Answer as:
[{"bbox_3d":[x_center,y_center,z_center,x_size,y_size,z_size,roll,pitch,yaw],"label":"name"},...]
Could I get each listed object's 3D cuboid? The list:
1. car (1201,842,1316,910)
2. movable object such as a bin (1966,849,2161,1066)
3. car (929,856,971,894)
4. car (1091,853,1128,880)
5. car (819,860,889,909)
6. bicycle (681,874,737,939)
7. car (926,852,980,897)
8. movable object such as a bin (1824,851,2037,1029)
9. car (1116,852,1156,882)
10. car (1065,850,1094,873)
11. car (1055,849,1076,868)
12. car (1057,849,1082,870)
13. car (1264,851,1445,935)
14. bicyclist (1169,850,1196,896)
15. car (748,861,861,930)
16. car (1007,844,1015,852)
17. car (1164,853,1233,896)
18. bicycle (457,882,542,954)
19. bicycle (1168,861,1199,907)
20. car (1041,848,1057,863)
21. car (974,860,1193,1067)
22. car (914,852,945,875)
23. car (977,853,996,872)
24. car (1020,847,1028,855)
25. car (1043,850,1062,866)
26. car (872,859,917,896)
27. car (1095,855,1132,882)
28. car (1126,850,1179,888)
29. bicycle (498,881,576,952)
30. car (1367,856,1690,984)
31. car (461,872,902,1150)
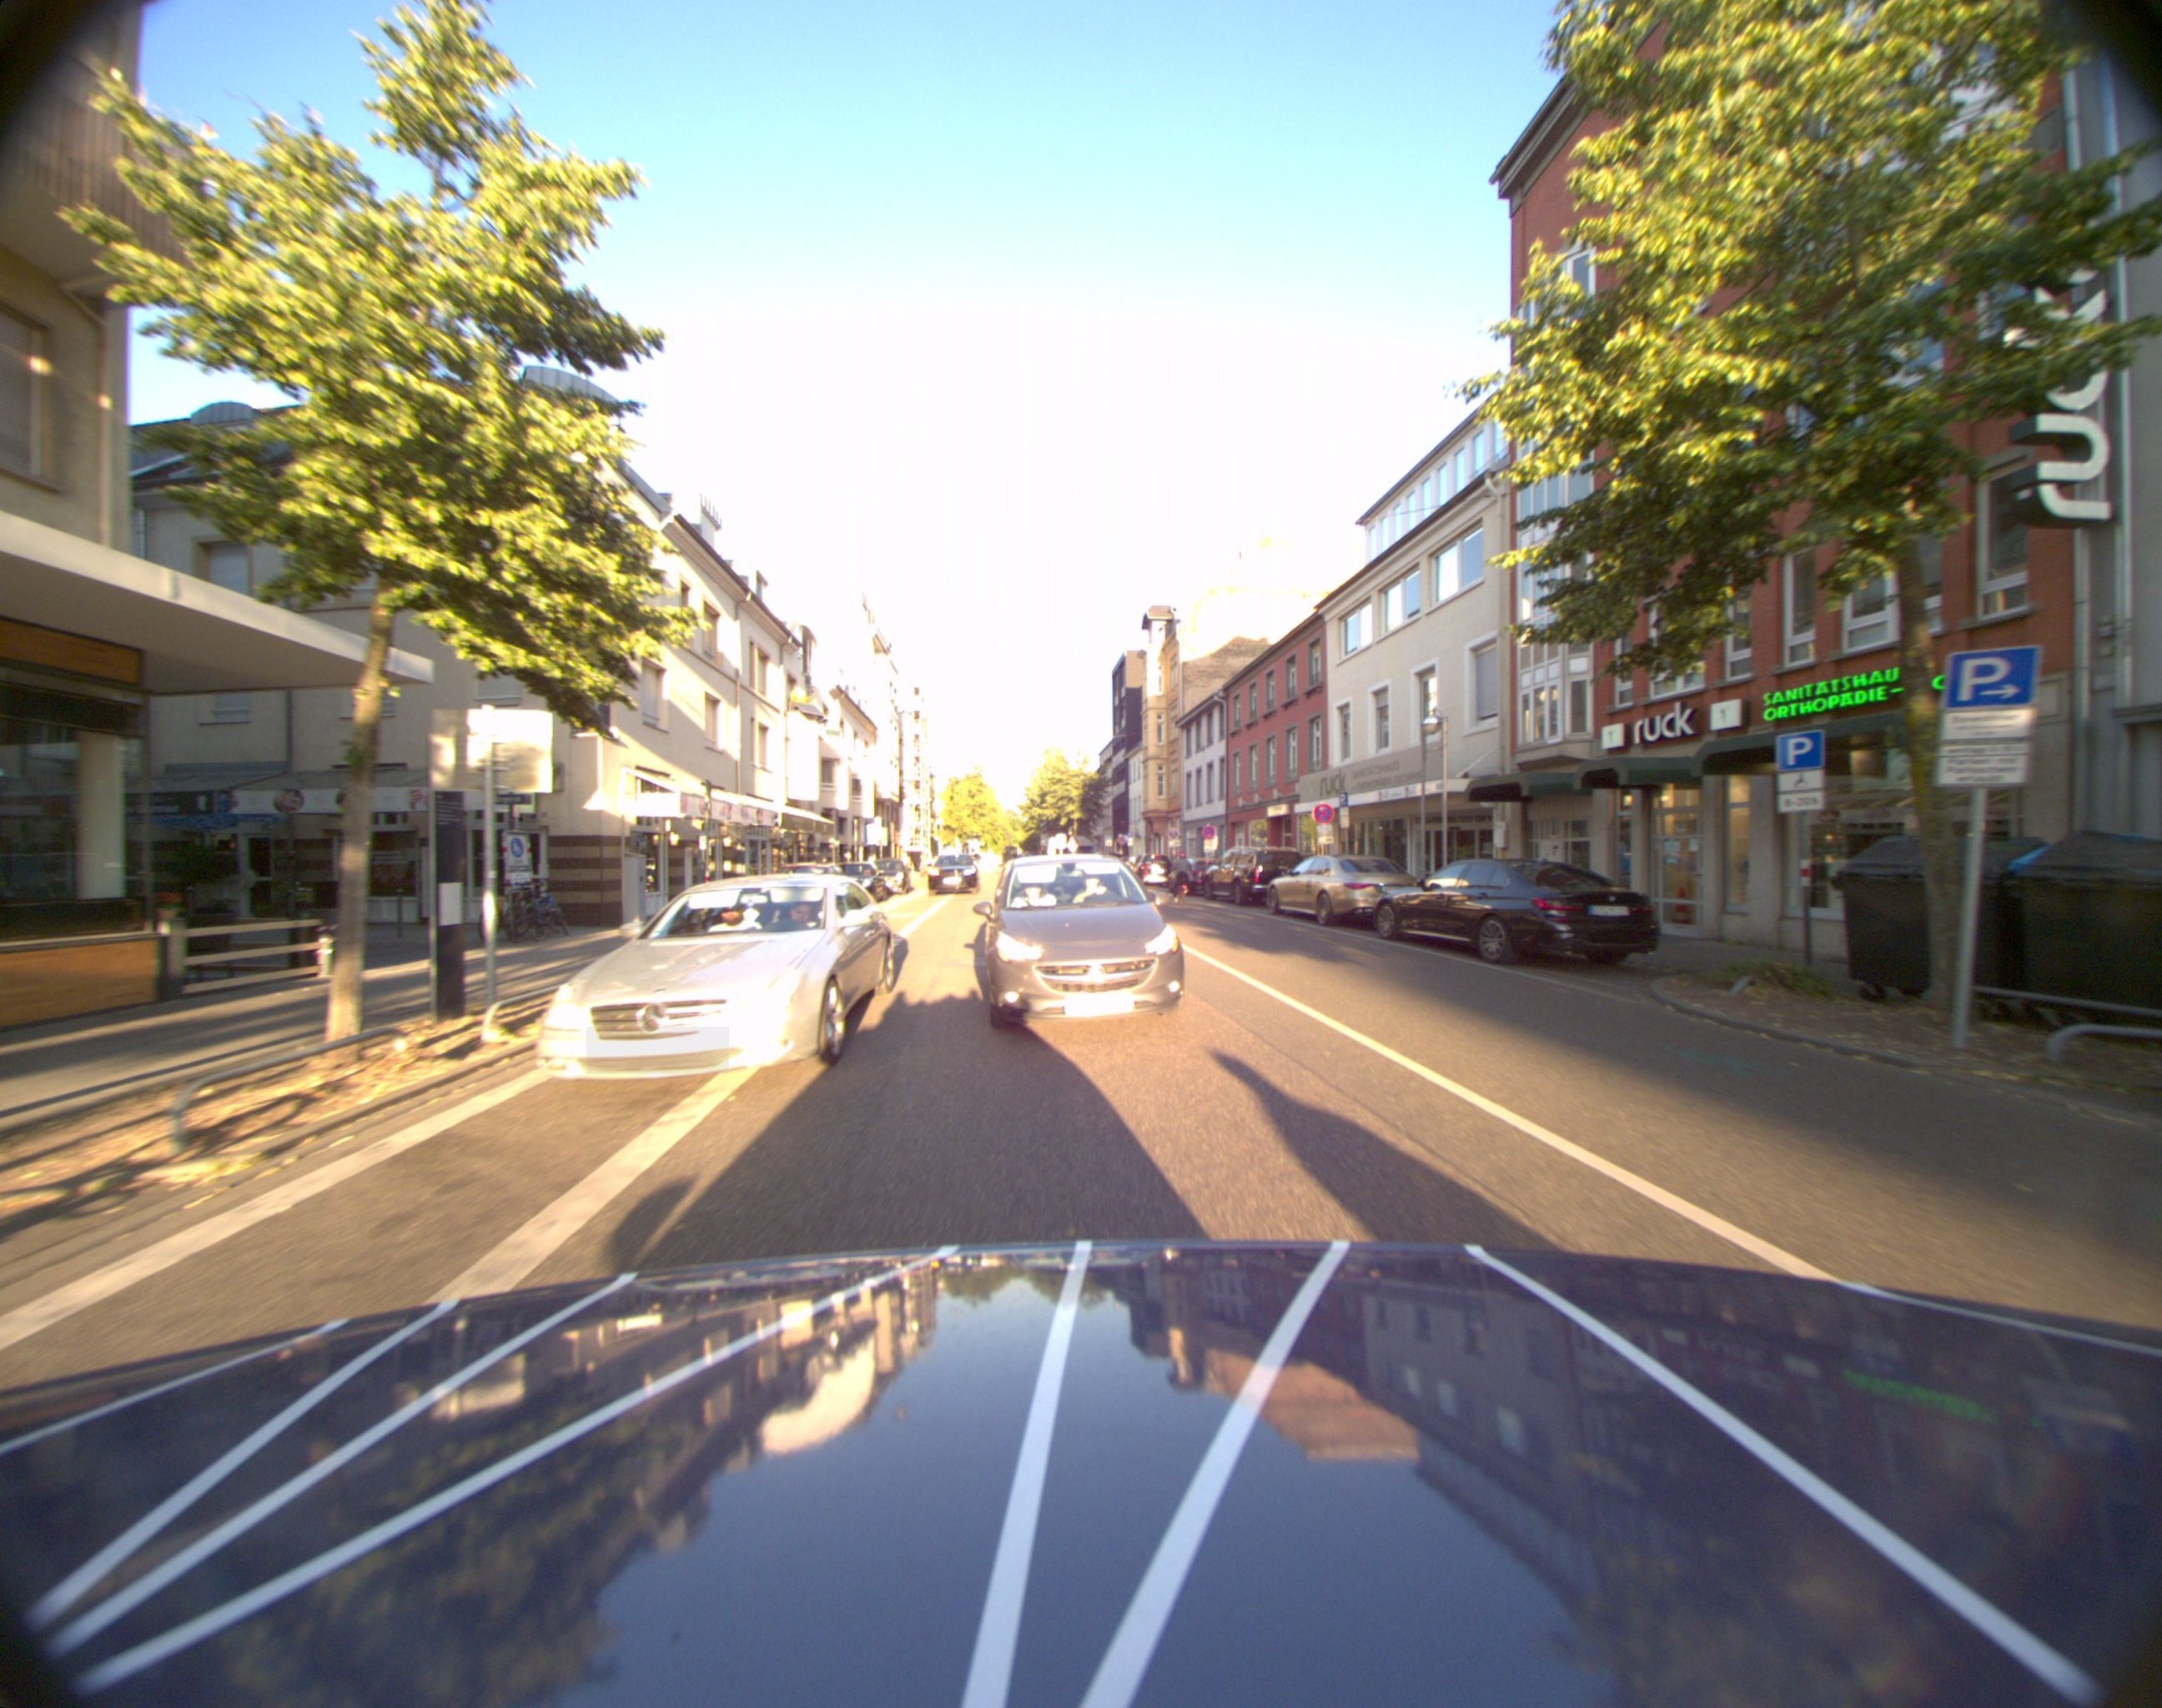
[{"bbox_3d":[5.364,0.615,23.753,1.974,1.873,4.945,-1,0,-6],"label":"car"},{"bbox_3d":[8.168,0.750,5.927,0.753,1.535,1.483,-3,2,-6],"label":"movable object such as a bin"},{"bbox_3d":[-6.044,0.914,35.393,1.692,1.534,3.728,-3,1,-8],"label":"car"},{"bbox_3d":[1.897,0.809,51.711,1.882,1.667,4.034,-2,1,-6],"label":"car"},{"bbox_3d":[-7.511,0.966,25.463,1.615,1.386,3.692,-3,1,-7],"label":"car"},{"bbox_3d":[-7.807,1.070,16.019,0.505,1.231,1.711,0,1,-7],"label":"bicycle"},{"bbox_3d":[-5.128,0.768,30.799,1.897,1.633,3.747,-1,1,-6],"label":"car"},{"bbox_3d":[8.020,0.756,7.238,0.748,1.526,1.100,-3,1,-6],"label":"movable object such as a bin"},{"bbox_3d":[3.103,0.689,43.524,1.686,1.581,3.514,-1,1,-5],"label":"car"},{"bbox_3d":[-0.139,0.554,58.345,1.796,1.606,3.970,-2,1,-6],"label":"car"},{"bbox_3d":[-1.557,0.425,75.821,1.766,1.762,3.870,0,0,-6],"label":"car"},{"bbox_3d":[-1.025,0.485,66.052,1.766,1.762,3.870,0,0,-6],"label":"car"},{"bbox_3d":[5.801,0.733,16.909,1.896,1.590,4.942,0,0,-5],"label":"car"},{"bbox_3d":[2.954,0.549,22.101,0.569,1.295,0.660,-3,2,-7],"label":"bicyclist"},{"bbox_3d":[-6.757,0.943,18.990,1.654,1.420,3.998,-2,0,-6],"label":"car"},{"bbox_3d":[-15.215,-1.229,164.321,1.673,1.630,3.253,-2,1,-5],"label":"car"},{"bbox_3d":[4.531,0.749,29.813,1.737,1.516,3.840,-1,0,-6],"label":"car"},{"bbox_3d":[-10.710,1.132,14.073,0.332,1.123,2.010,-1,1,-10],"label":"bicycle"},{"bbox_3d":[2.961,0.855,22.112,0.421,1.230,1.693,-3,2,-8],"label":"bicycle"},{"bbox_3d":[-4.027,0.163,93.920,1.766,1.762,3.870,0,0,-6],"label":"car"},{"bbox_3d":[-0.229,0.824,7.627,1.588,1.445,3.839,-1,1,-9],"label":"car"},{"bbox_3d":[-10.946,0.687,55.063,1.766,1.563,3.870,0,0,-6],"label":"car"},{"bbox_3d":[-9.425,0.823,76.078,1.693,1.645,3.731,-2,1,-6],"label":"car"},{"bbox_3d":[-15.132,-0.797,203.540,1.846,1.796,3.583,-2,1,-1],"label":"car"},{"bbox_3d":[-3.193,0.442,84.159,1.788,1.762,3.870,0,0,-6],"label":"car"},{"bbox_3d":[-8.008,0.967,32.829,1.432,1.443,3.378,-1,0,-7],"label":"car"},{"bbox_3d":[1.982,0.841,47.326,1.792,1.504,3.775,-1,1,-6],"label":"car"},{"bbox_3d":[3.543,0.695,38.384,1.877,1.718,4.137,-1,1,-6],"label":"car"},{"bbox_3d":[-10.104,1.125,14.175,0.332,1.123,2.010,0,1,-10],"label":"bicycle"},{"bbox_3d":[6.187,0.791,11.246,1.805,1.385,4.414,-1,1,-7],"label":"car"},{"bbox_3d":[-2.858,0.964,6.750,1.791,1.361,4.570,-2,1,-5],"label":"car"}]
